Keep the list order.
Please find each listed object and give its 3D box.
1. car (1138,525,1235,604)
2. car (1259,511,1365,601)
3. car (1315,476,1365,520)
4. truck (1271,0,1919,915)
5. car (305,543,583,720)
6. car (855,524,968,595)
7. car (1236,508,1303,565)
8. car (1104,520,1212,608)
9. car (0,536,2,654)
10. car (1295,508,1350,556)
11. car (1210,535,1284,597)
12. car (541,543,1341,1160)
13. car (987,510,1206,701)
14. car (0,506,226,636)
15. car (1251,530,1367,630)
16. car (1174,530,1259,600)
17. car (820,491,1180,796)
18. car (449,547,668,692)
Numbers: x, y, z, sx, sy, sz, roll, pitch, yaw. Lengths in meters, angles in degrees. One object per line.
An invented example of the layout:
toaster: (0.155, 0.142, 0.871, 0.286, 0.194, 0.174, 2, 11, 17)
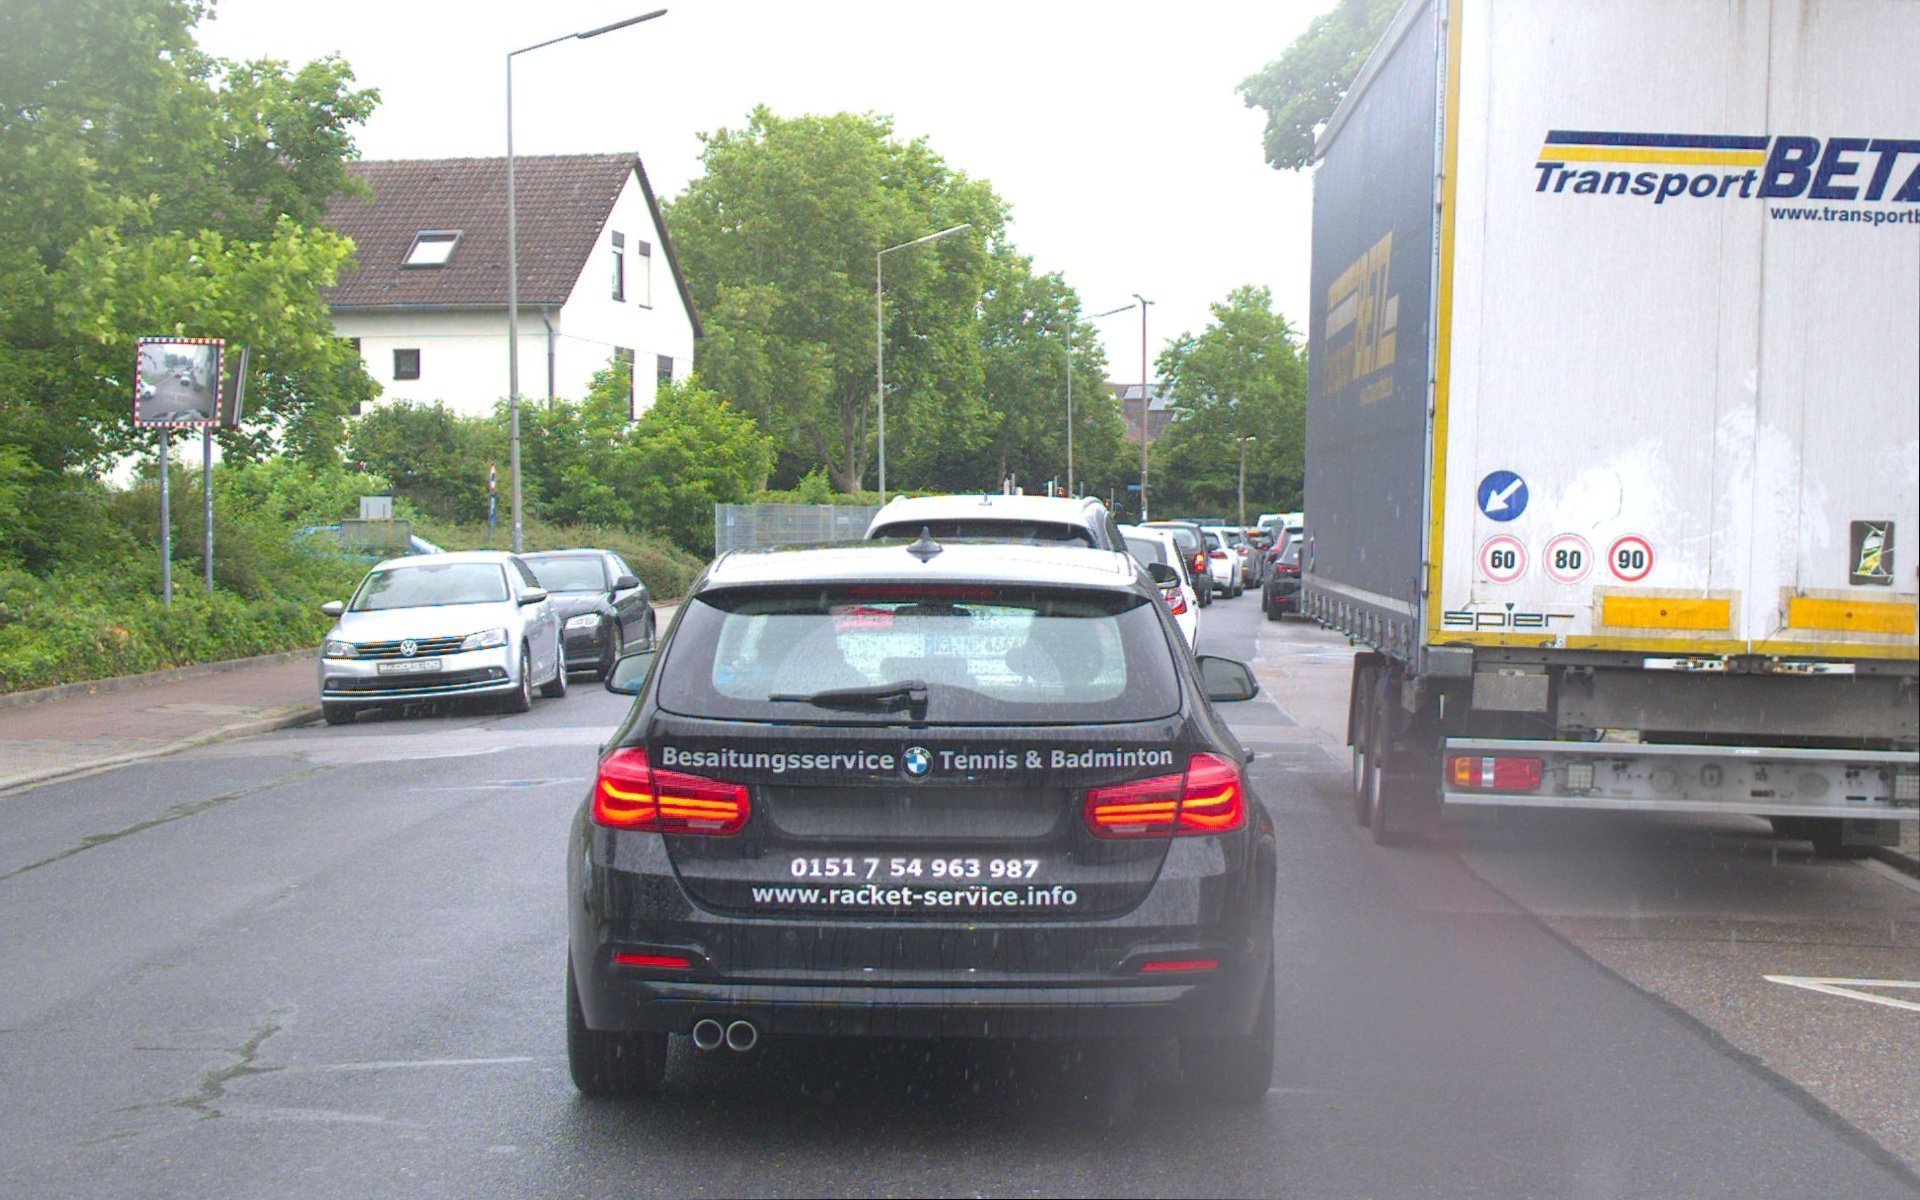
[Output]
car: (4.705, -0.743, 70.997, 1.805, 1.581, 3.999, 1, 1, 7)
car: (6.417, -0.812, 62.980, 1.804, 1.581, 4.000, 1, 1, 4)
car: (14.162, -3.795, 128.186, 1.805, 1.581, 3.999, 0, 1, 6)
truck: (3.223, -0.708, 16.844, 2.741, 3.598, 7.750, 2, 1, 1)
car: (-4.553, 0.224, 30.948, 1.705, 1.362, 4.601, -3, 1, 1)
car: (-1.005, -0.885, 73.508, 1.706, 1.362, 3.837, -2, 1, 9)
car: (8.841, -1.816, 98.015, 1.805, 1.581, 3.999, 0, 1, 6)
car: (3.754, -0.681, 64.667, 1.805, 1.581, 3.999, 1, 1, 7)
car: (-9.965, 0.150, 28.456, 3.569, 1.455, 1.712, 1, 1, 0)
car: (12.241, -2.291, 115.908, 1.805, 1.581, 3.999, 0, 1, 6)
car: (7.526, -0.898, 89.875, 1.805, 1.581, 3.999, 1, 1, 7)
car: (-0.153, 0.544, 9.787, 1.804, 1.390, 4.001, 0, 1, -3)
car: (1.281, 0.016, 30.724, 1.804, 1.581, 4.000, 1, 1, 4)
car: (-11.120, -0.361, 41.799, 3.987, 1.535, 1.911, 0, 1, 0)
car: (5.744, -0.347, 56.942, 1.804, 1.581, 4.000, 1, 1, 4)
car: (6.032, -0.837, 80.611, 1.805, 1.581, 3.999, 1, 1, 7)
car: (0.129, 0.198, 19.973, 1.804, 1.581, 4.001, 0, 1, -3)
car: (-4.250, 0.168, 36.908, 1.705, 1.362, 3.838, -3, 1, 2)
